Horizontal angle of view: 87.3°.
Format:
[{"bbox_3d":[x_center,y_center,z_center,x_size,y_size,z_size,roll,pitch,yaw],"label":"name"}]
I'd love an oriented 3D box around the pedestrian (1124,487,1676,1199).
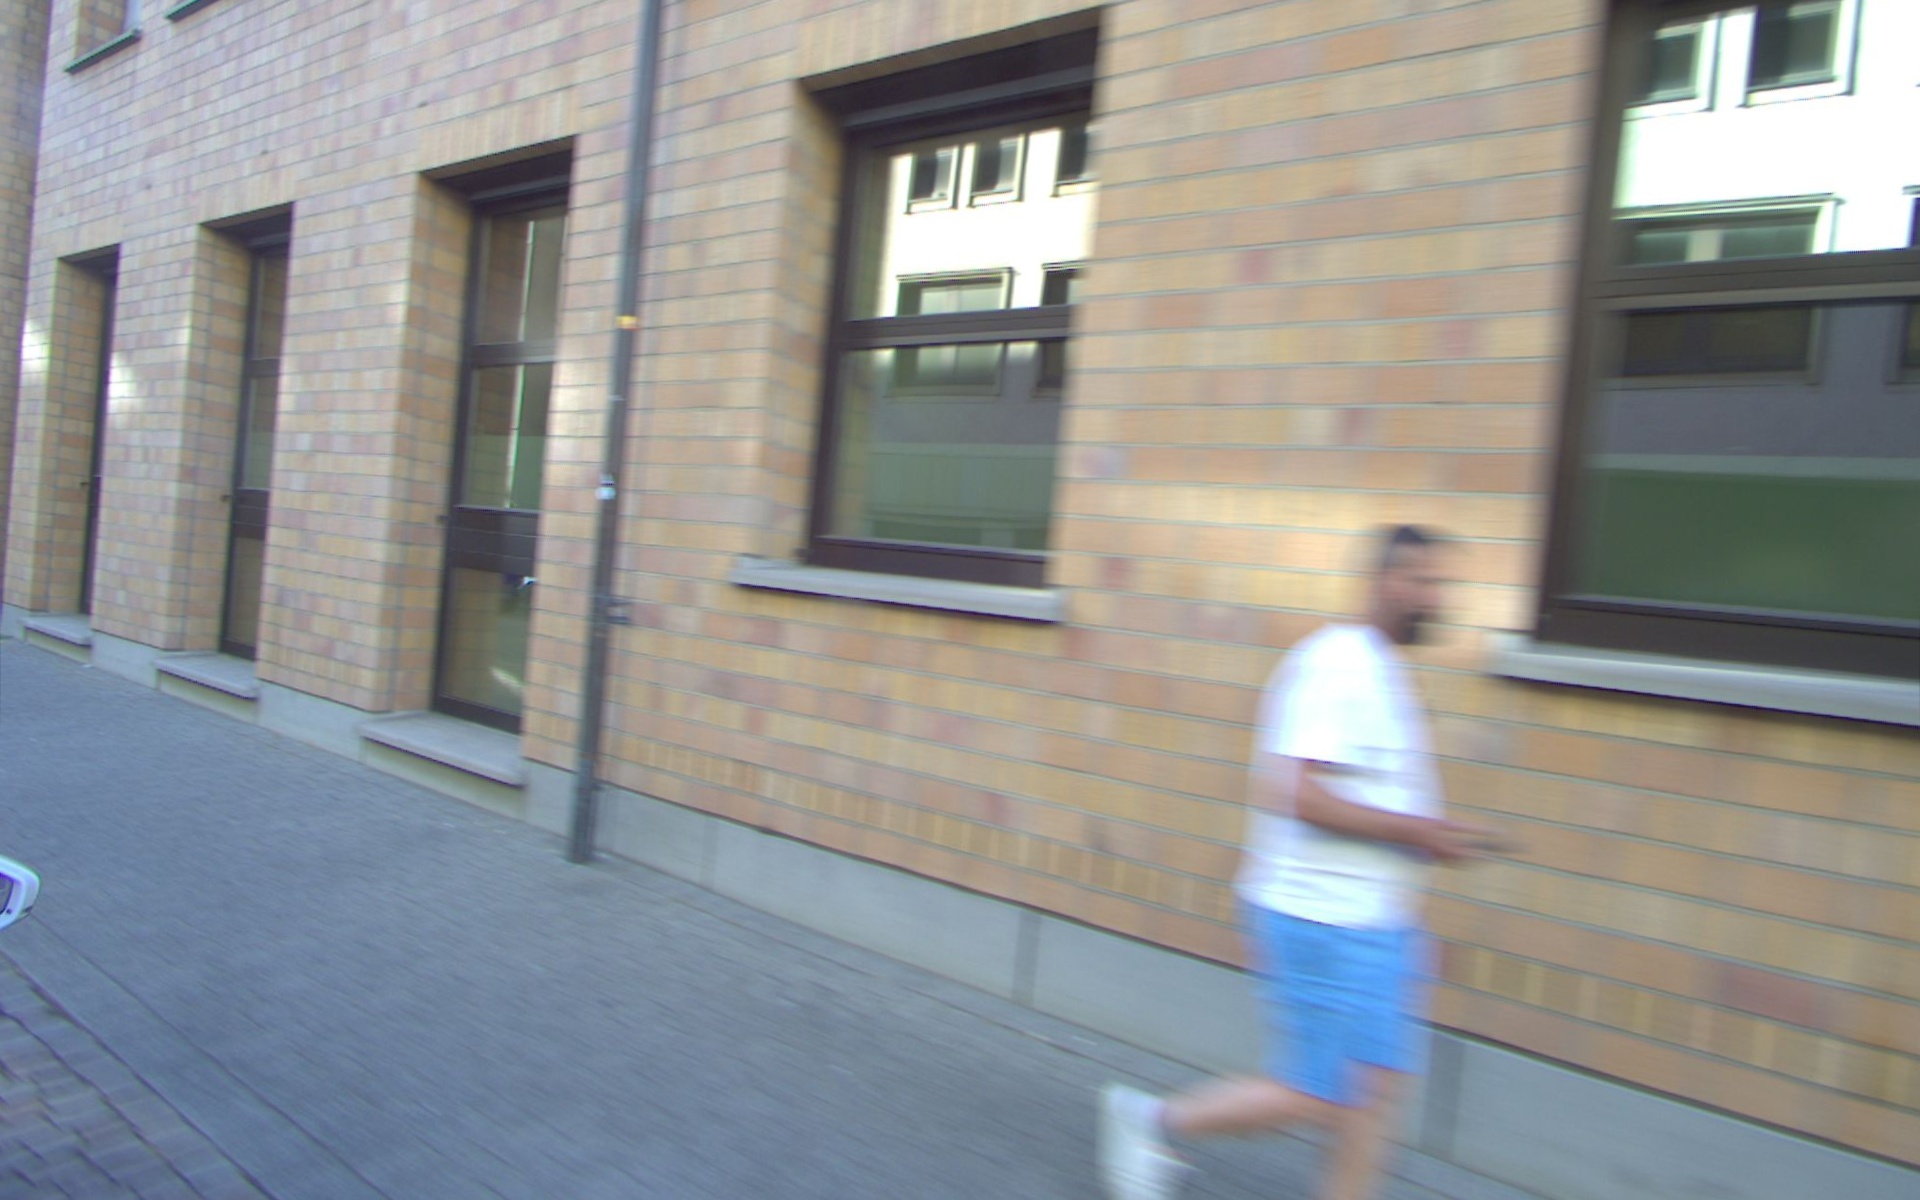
[{"bbox_3d":[0.944,0.680,2.219,0.808,1.740,0.760,7,4,32],"label":"pedestrian"}]
